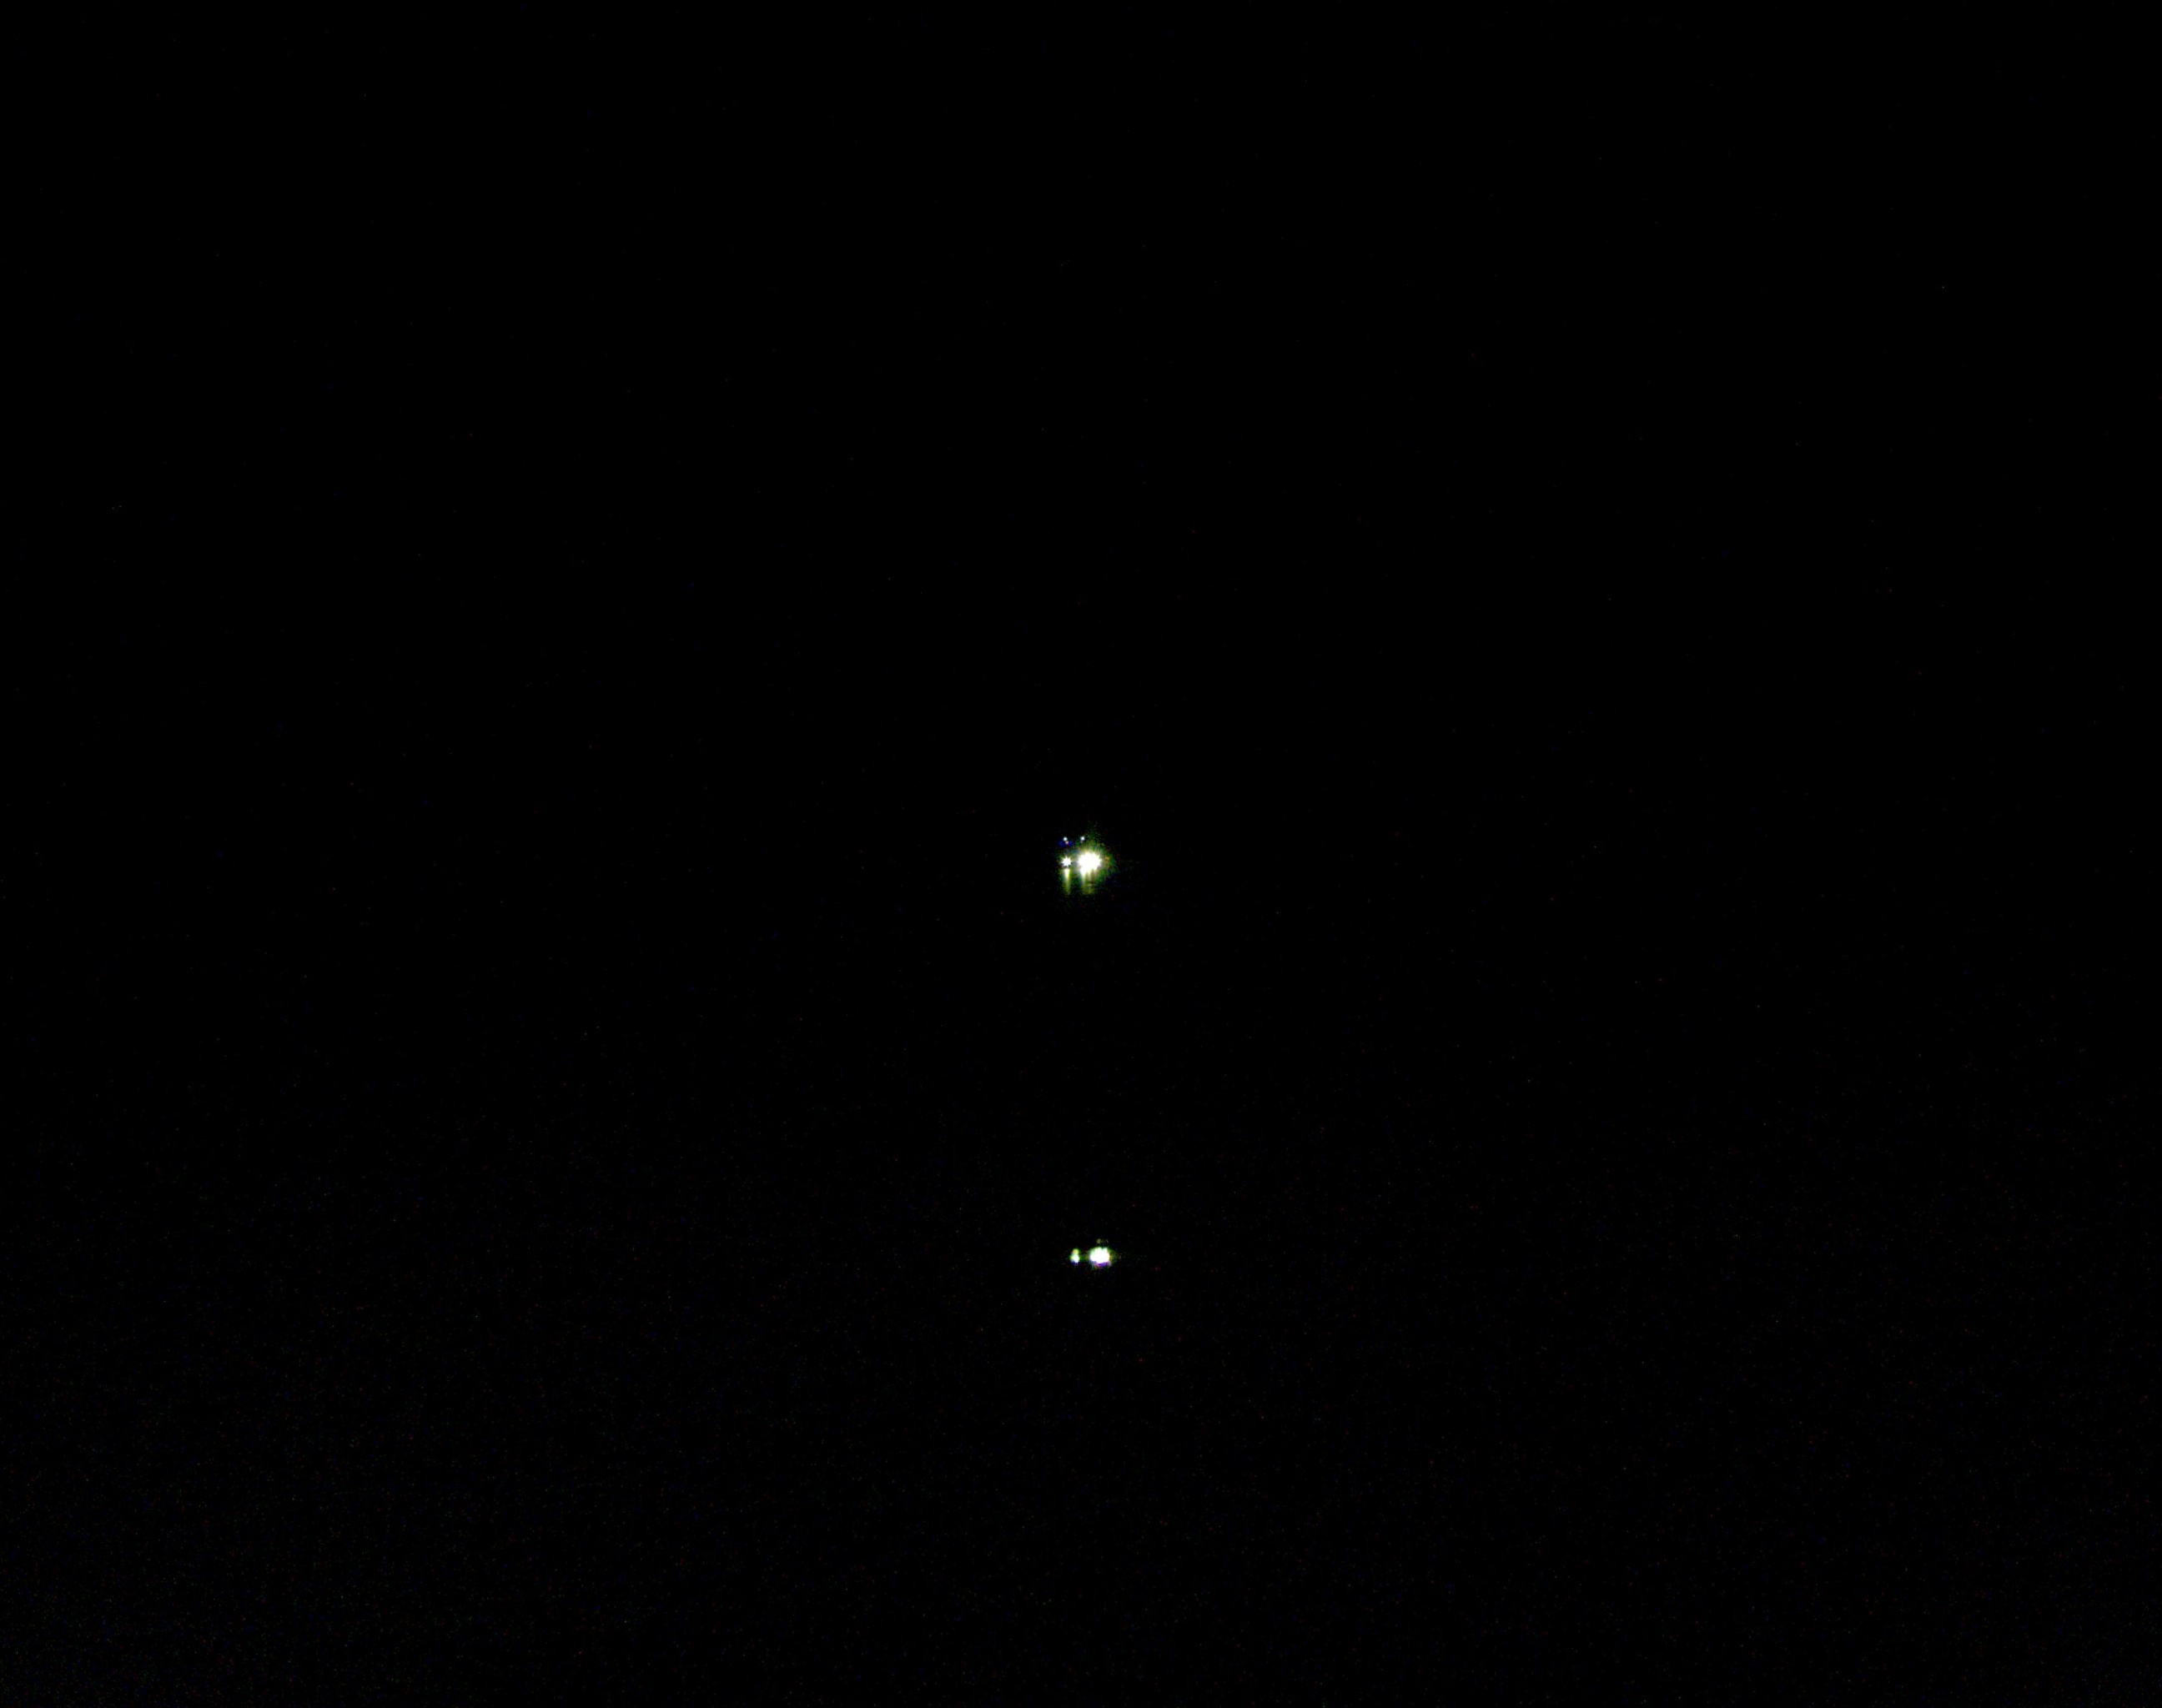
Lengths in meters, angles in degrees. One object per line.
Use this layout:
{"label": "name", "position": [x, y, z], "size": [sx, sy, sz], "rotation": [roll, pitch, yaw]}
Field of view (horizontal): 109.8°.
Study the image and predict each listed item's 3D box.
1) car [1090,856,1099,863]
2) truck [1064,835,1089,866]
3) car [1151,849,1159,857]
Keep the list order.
{"label": "car", "position": [3.156, 1.302, 181.455], "size": [1.845, 1.475, 4.293], "rotation": [-2, 0, 4]}
{"label": "truck", "position": [-0.505, -0.499, 102.527], "size": [3.003, 3.877, 12.887], "rotation": [-2, 0, 1]}
{"label": "car", "position": [22.175, -0.321, 227.888], "size": [1.998, 2.231, 4.000], "rotation": [-2, 0, 1]}
